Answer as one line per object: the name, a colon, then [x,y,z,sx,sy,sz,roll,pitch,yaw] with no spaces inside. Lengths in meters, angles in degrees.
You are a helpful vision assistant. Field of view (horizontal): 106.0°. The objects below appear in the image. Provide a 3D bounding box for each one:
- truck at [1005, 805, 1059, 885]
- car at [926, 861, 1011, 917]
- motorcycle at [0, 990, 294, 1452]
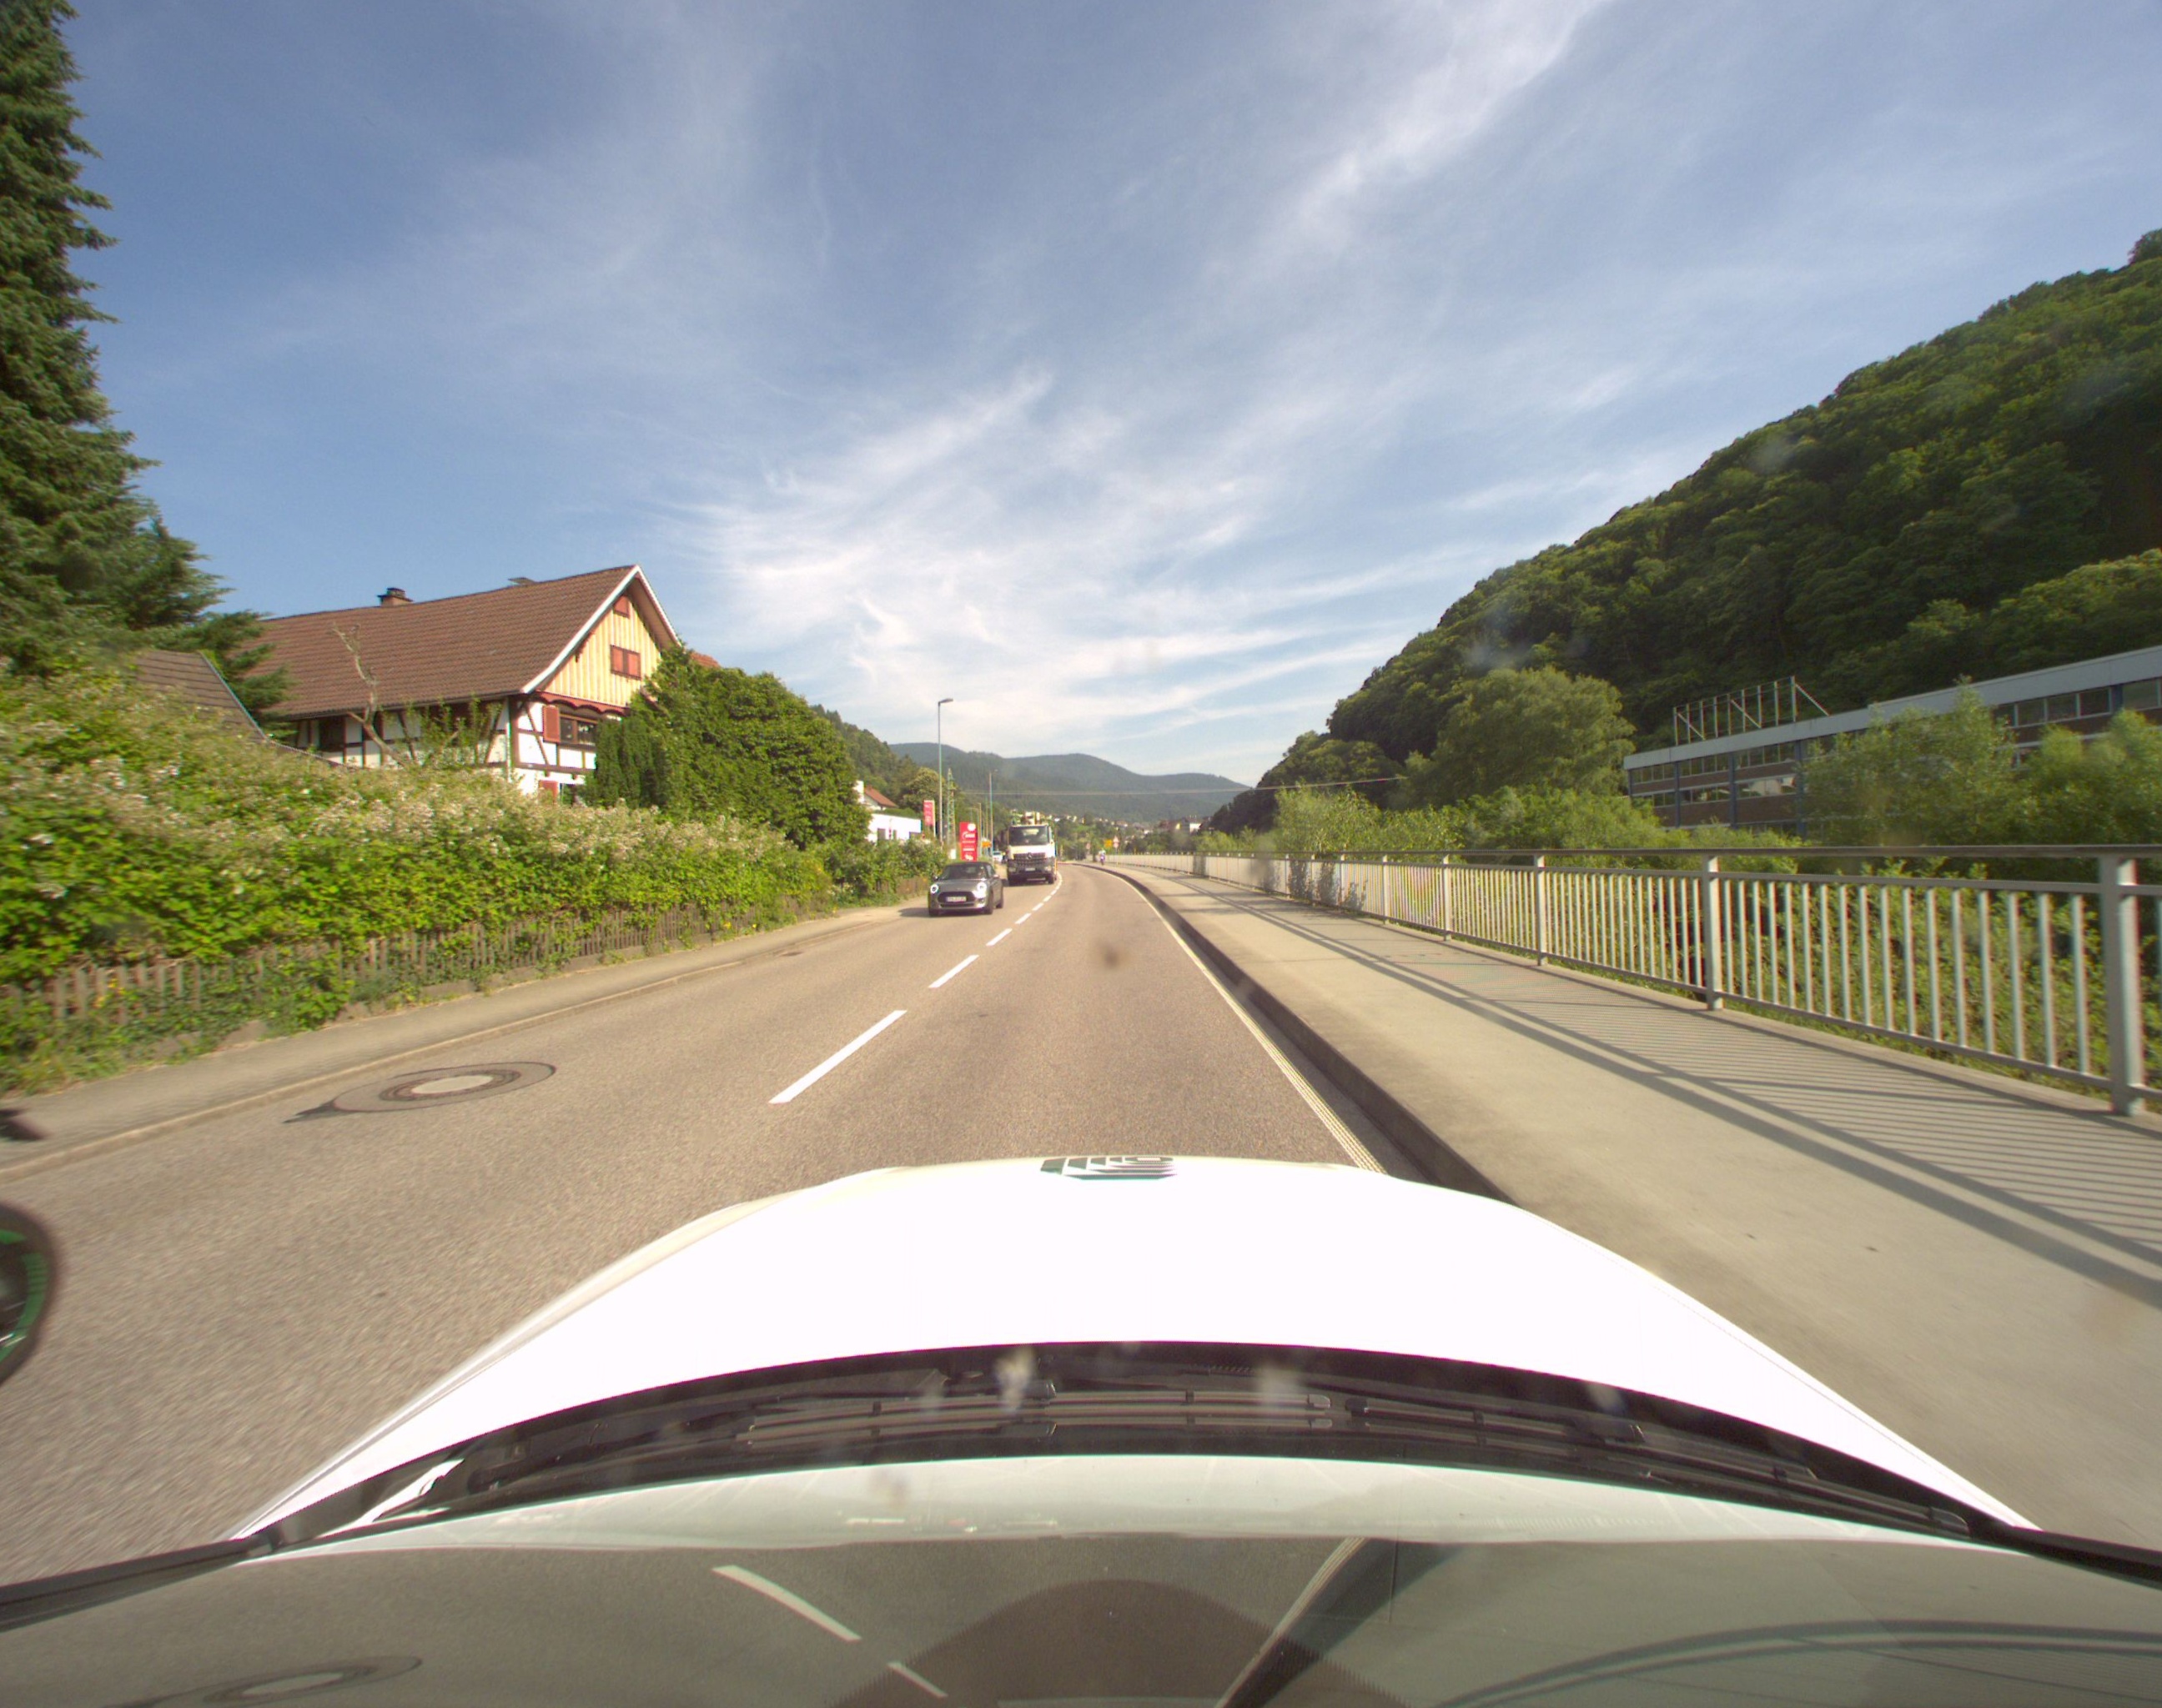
truck: [-2.777,-0.425,46.898,2.572,3.931,11.292,-2,0,-3]
car: [-3.073,0.938,23.057,1.707,1.403,4.001,-1,-1,1]
motorcycle: [-3.144,1.010,1.756,0.651,1.068,2.184,-2,0,4]
